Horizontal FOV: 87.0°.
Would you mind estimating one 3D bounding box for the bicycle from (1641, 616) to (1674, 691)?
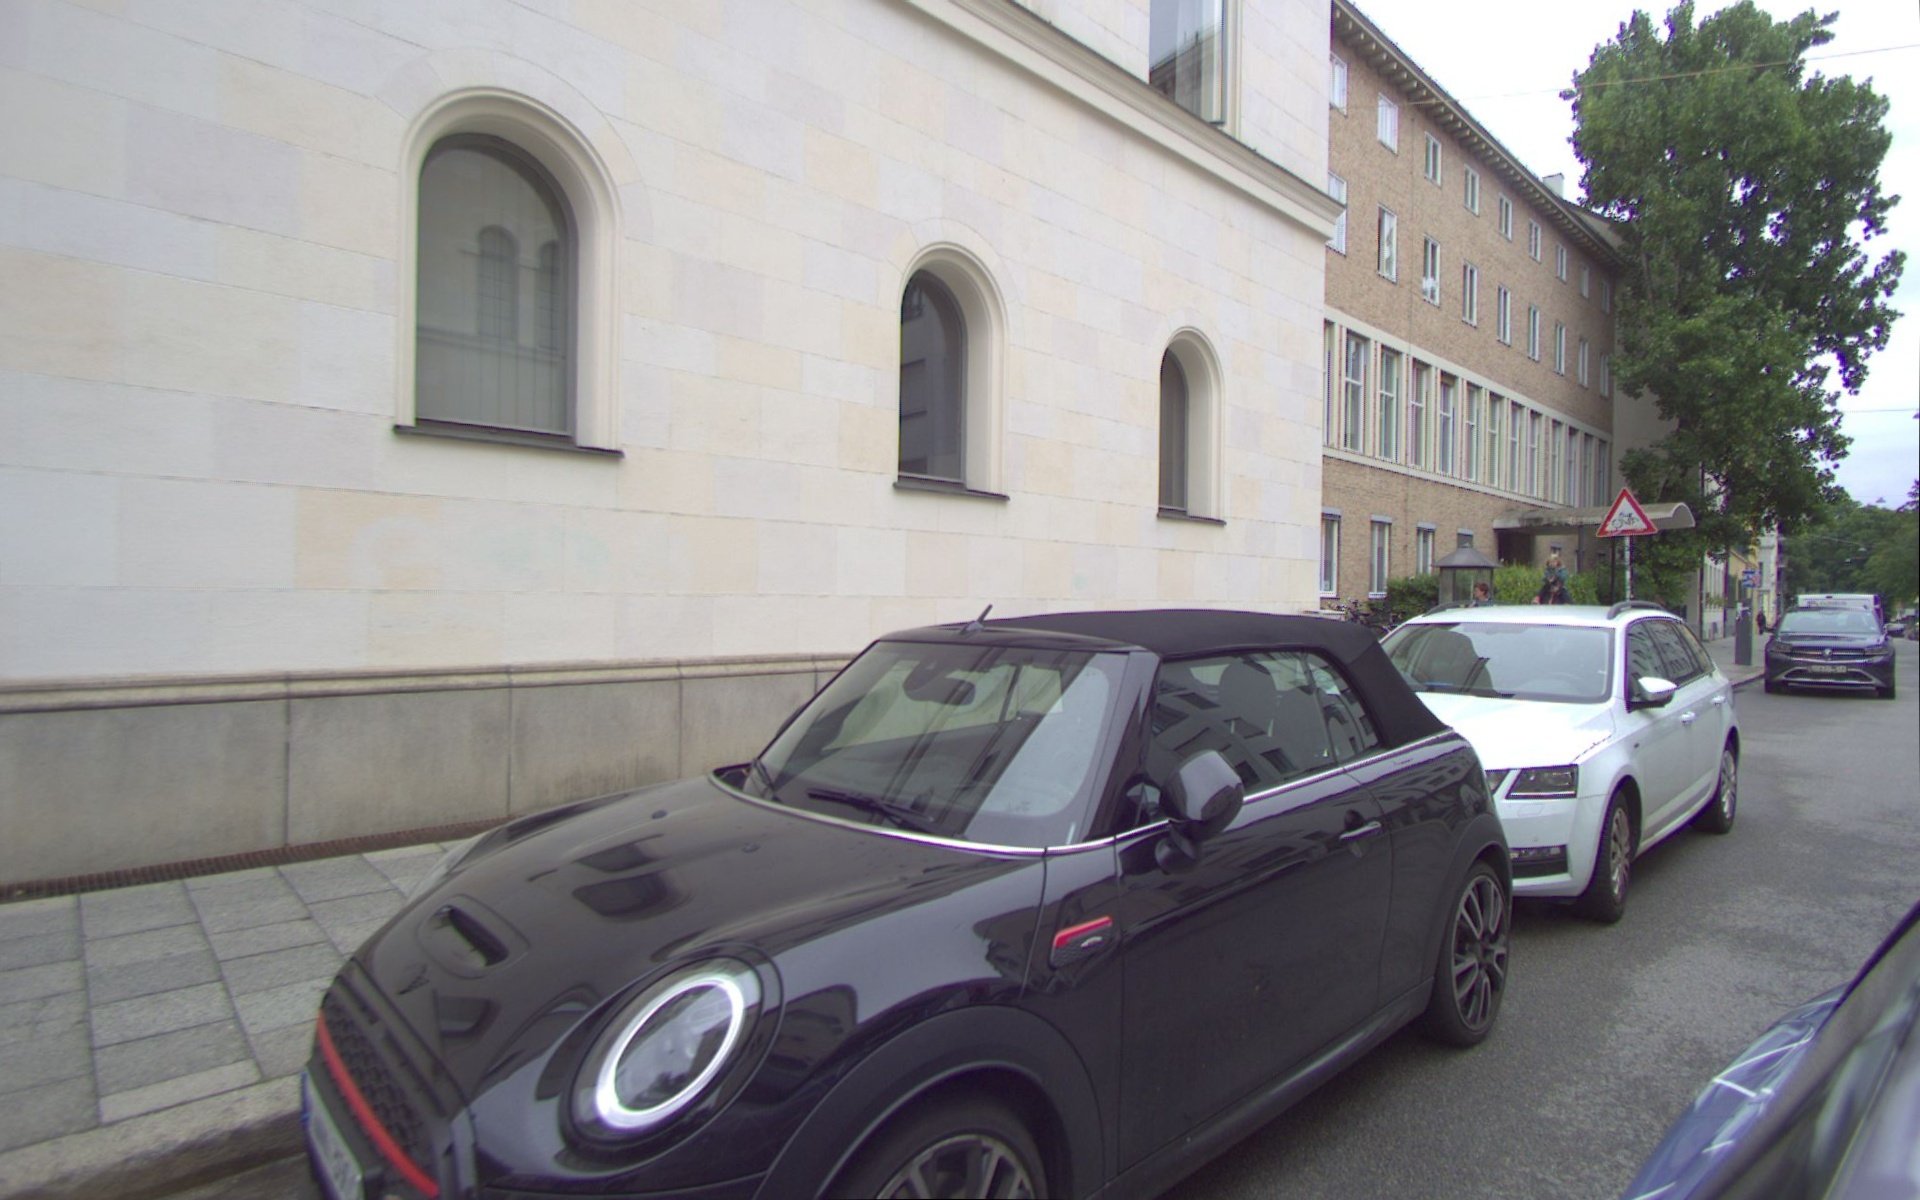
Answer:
[{"bbox_3d":[10.796,0.800,15.673,0.346,1.054,1.615,4,2,34],"label":"bicycle"}]

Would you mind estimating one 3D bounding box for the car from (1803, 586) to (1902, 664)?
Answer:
[{"bbox_3d":[24.448,0.644,27.679,1.882,1.949,4.798,1,0,43],"label":"car"}]

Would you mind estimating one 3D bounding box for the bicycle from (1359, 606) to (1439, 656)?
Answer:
[{"bbox_3d":[10.026,0.693,23.158,1.629,1.055,0.343,3,1,43],"label":"bicycle"}]

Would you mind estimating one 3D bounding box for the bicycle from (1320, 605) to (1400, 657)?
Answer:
[{"bbox_3d":[8.710,0.661,22.108,0.342,1.055,1.633,1,1,-40],"label":"bicycle"}]

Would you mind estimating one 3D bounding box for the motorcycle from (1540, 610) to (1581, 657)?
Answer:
[{"bbox_3d":[14.315,0.778,24.102,0.488,1.067,1.894,0,-1,42],"label":"motorcycle"}]

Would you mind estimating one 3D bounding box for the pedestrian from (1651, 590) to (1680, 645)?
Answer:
[{"bbox_3d":[21.504,0.530,30.846,0.862,1.654,0.588,2,-1,-44],"label":"pedestrian"}]

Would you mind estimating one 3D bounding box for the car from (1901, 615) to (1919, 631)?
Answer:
[{"bbox_3d":[95.188,2.315,100.994,1.705,1.518,3.941,1,0,40],"label":"car"}]

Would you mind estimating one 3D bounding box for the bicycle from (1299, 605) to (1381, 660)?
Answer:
[{"bbox_3d":[8.001,0.665,21.356,0.342,1.055,1.633,1,1,-40],"label":"bicycle"}]

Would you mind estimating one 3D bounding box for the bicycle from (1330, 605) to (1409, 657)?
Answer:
[{"bbox_3d":[9.057,0.664,22.419,0.342,1.055,1.633,1,1,-40],"label":"bicycle"}]

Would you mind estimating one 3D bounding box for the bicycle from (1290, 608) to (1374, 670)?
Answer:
[{"bbox_3d":[6.894,0.707,18.775,0.342,1.055,1.430,1,1,-44],"label":"bicycle"}]

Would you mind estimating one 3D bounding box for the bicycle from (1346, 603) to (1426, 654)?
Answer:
[{"bbox_3d":[9.587,0.638,22.824,1.630,1.055,0.343,3,1,44],"label":"bicycle"}]

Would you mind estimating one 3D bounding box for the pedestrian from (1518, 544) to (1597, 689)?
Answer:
[{"bbox_3d":[9.511,0.237,16.107,0.799,2.224,0.795,1,2,-42],"label":"pedestrian"}]

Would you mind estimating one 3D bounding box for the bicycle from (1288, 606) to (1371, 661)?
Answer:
[{"bbox_3d":[7.679,0.675,21.084,0.342,1.055,1.633,1,1,-40],"label":"bicycle"}]

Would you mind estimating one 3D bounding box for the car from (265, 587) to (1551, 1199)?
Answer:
[{"bbox_3d":[0.292,0.700,3.004,3.708,1.444,1.542,0,0,-43],"label":"car"}]

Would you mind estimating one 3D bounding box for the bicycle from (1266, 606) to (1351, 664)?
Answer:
[{"bbox_3d":[6.981,0.680,20.334,0.342,1.055,1.633,1,1,-40],"label":"bicycle"}]

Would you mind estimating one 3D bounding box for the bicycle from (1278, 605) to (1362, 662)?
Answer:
[{"bbox_3d":[7.304,0.664,20.578,0.342,1.055,1.633,1,1,-40],"label":"bicycle"}]

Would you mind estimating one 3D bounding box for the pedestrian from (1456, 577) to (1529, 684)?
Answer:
[{"bbox_3d":[8.815,0.489,16.747,0.738,1.715,0.859,1,-1,-40],"label":"pedestrian"}]

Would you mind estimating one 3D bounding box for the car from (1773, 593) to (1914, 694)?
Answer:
[{"bbox_3d":[15.888,0.698,18.206,1.746,1.614,3.895,0,0,42],"label":"car"}]

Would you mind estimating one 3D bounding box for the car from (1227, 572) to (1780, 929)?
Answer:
[{"bbox_3d":[3.641,0.641,6.376,4.240,1.495,1.791,1,1,-43],"label":"car"}]

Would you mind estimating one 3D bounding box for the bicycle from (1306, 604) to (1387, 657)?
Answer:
[{"bbox_3d":[8.291,0.635,21.762,0.342,1.055,1.633,1,1,-40],"label":"bicycle"}]

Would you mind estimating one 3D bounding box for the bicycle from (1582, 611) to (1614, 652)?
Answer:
[{"bbox_3d":[16.926,0.821,26.842,0.422,1.067,1.464,0,-1,44],"label":"bicycle"}]

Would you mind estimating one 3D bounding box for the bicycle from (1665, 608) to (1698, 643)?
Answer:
[{"bbox_3d":[23.778,0.818,33.335,0.669,1.087,2.191,1,0,41],"label":"bicycle"}]

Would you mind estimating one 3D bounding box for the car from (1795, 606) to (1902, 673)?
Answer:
[{"bbox_3d":[20.891,0.865,23.740,1.674,1.435,4.133,0,-1,44],"label":"car"}]
